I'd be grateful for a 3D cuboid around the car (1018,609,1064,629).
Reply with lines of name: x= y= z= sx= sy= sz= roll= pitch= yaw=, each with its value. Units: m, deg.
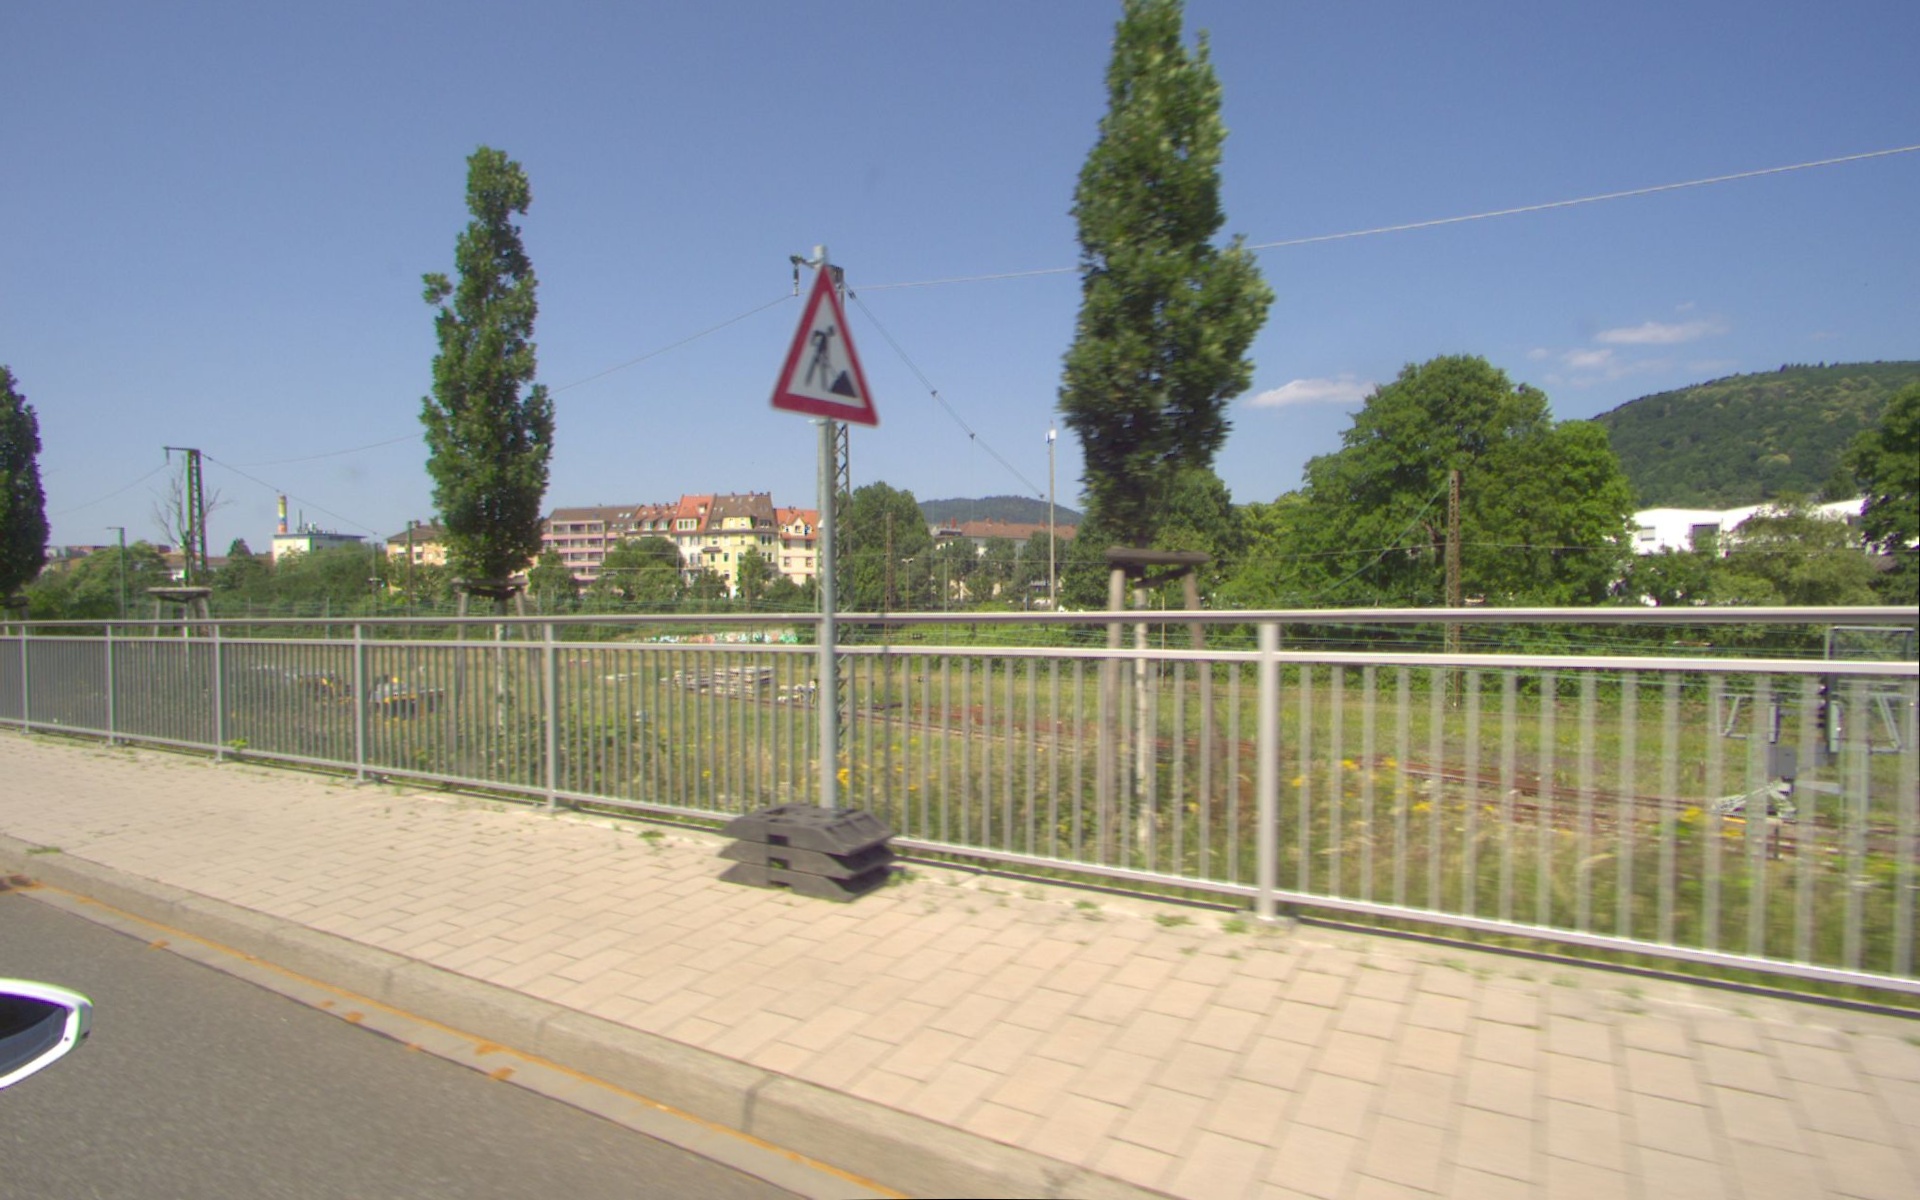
car: x=9.199 y=2.110 z=113.897 sx=4.925 sy=2.141 sz=1.987 roll=0 pitch=1 yaw=36
